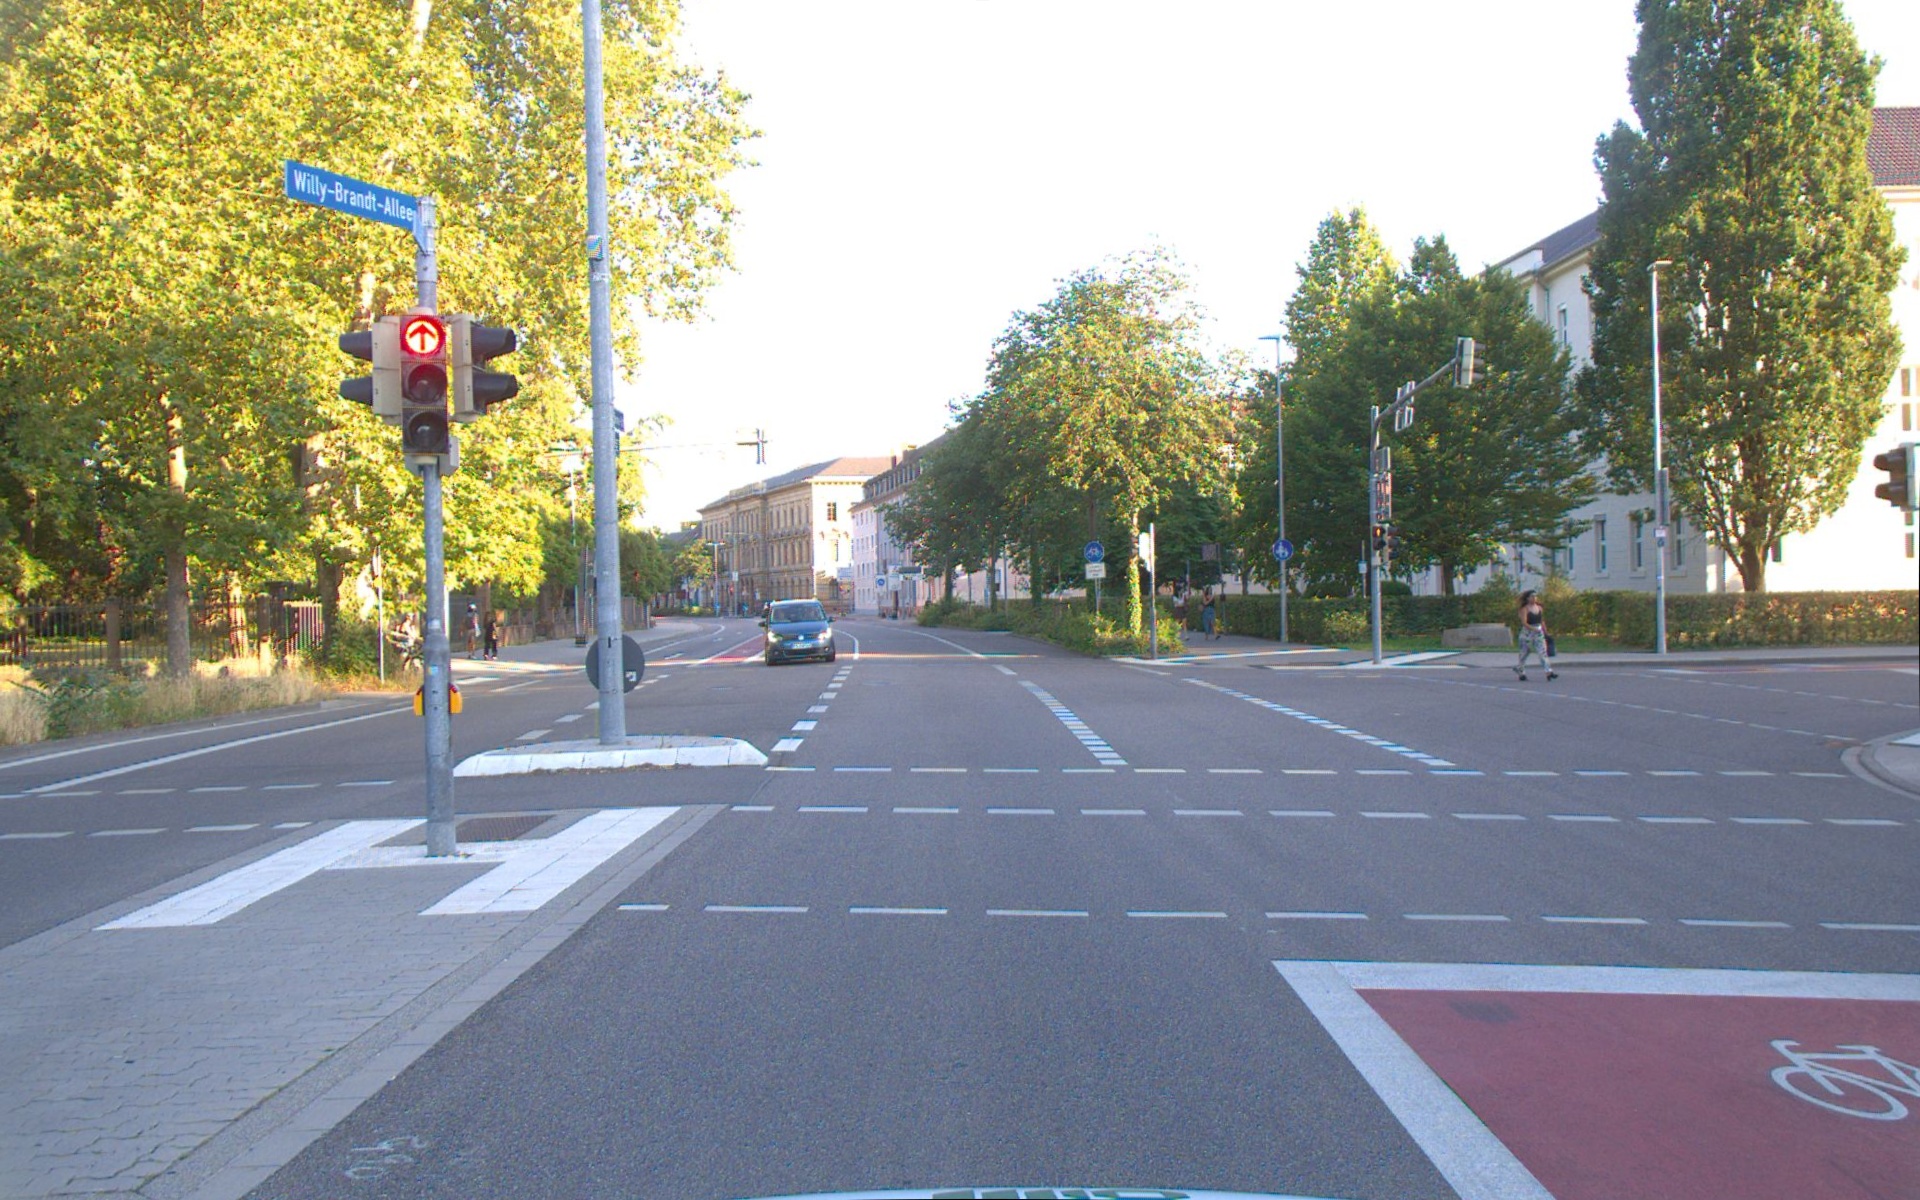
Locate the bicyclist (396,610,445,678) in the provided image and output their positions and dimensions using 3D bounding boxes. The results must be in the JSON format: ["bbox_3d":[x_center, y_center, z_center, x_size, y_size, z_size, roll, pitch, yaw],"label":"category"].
[{"bbox_3d":[-13.628,1.101,41.783,0.938,1.659,0.752,-1,0,0],"label":"bicyclist"}]

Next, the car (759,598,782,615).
[{"bbox_3d":[-19.416,0.642,169.431,1.789,1.616,3.984,-2,0,-15],"label":"car"}]

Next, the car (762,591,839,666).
[{"bbox_3d":[-4.120,0.713,43.320,1.813,1.750,4.292,-3,0,-4],"label":"car"}]

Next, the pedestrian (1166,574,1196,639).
[{"bbox_3d":[7.002,0.200,52.412,0.852,2.049,0.722,0,0,-1],"label":"pedestrian"}]

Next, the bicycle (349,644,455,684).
[{"bbox_3d":[-14.083,1.611,41.763,2.380,0.940,0.775,-1,0,0],"label":"bicycle"}]

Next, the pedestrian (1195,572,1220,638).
[{"bbox_3d":[7.810,0.158,52.216,0.622,2.049,0.720,0,0,-5],"label":"pedestrian"}]

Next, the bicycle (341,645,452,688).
[{"bbox_3d":[-13.648,1.604,40.093,2.380,0.940,0.775,-1,0,0],"label":"bicycle"}]

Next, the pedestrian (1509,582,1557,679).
[{"bbox_3d":[9.920,0.518,28.660,0.587,1.664,0.691,0,0,0],"label":"pedestrian"}]

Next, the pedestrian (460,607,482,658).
[{"bbox_3d":[-15.890,1.061,53.759,0.524,1.624,0.590,-1,0,-1],"label":"pedestrian"}]

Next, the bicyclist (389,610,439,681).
[{"bbox_3d":[-13.238,1.097,40.102,0.938,1.659,0.752,-1,0,0],"label":"bicyclist"}]

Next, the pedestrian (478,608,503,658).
[{"bbox_3d":[-15.198,1.060,53.537,0.587,1.601,0.646,-1,0,-1],"label":"pedestrian"}]
